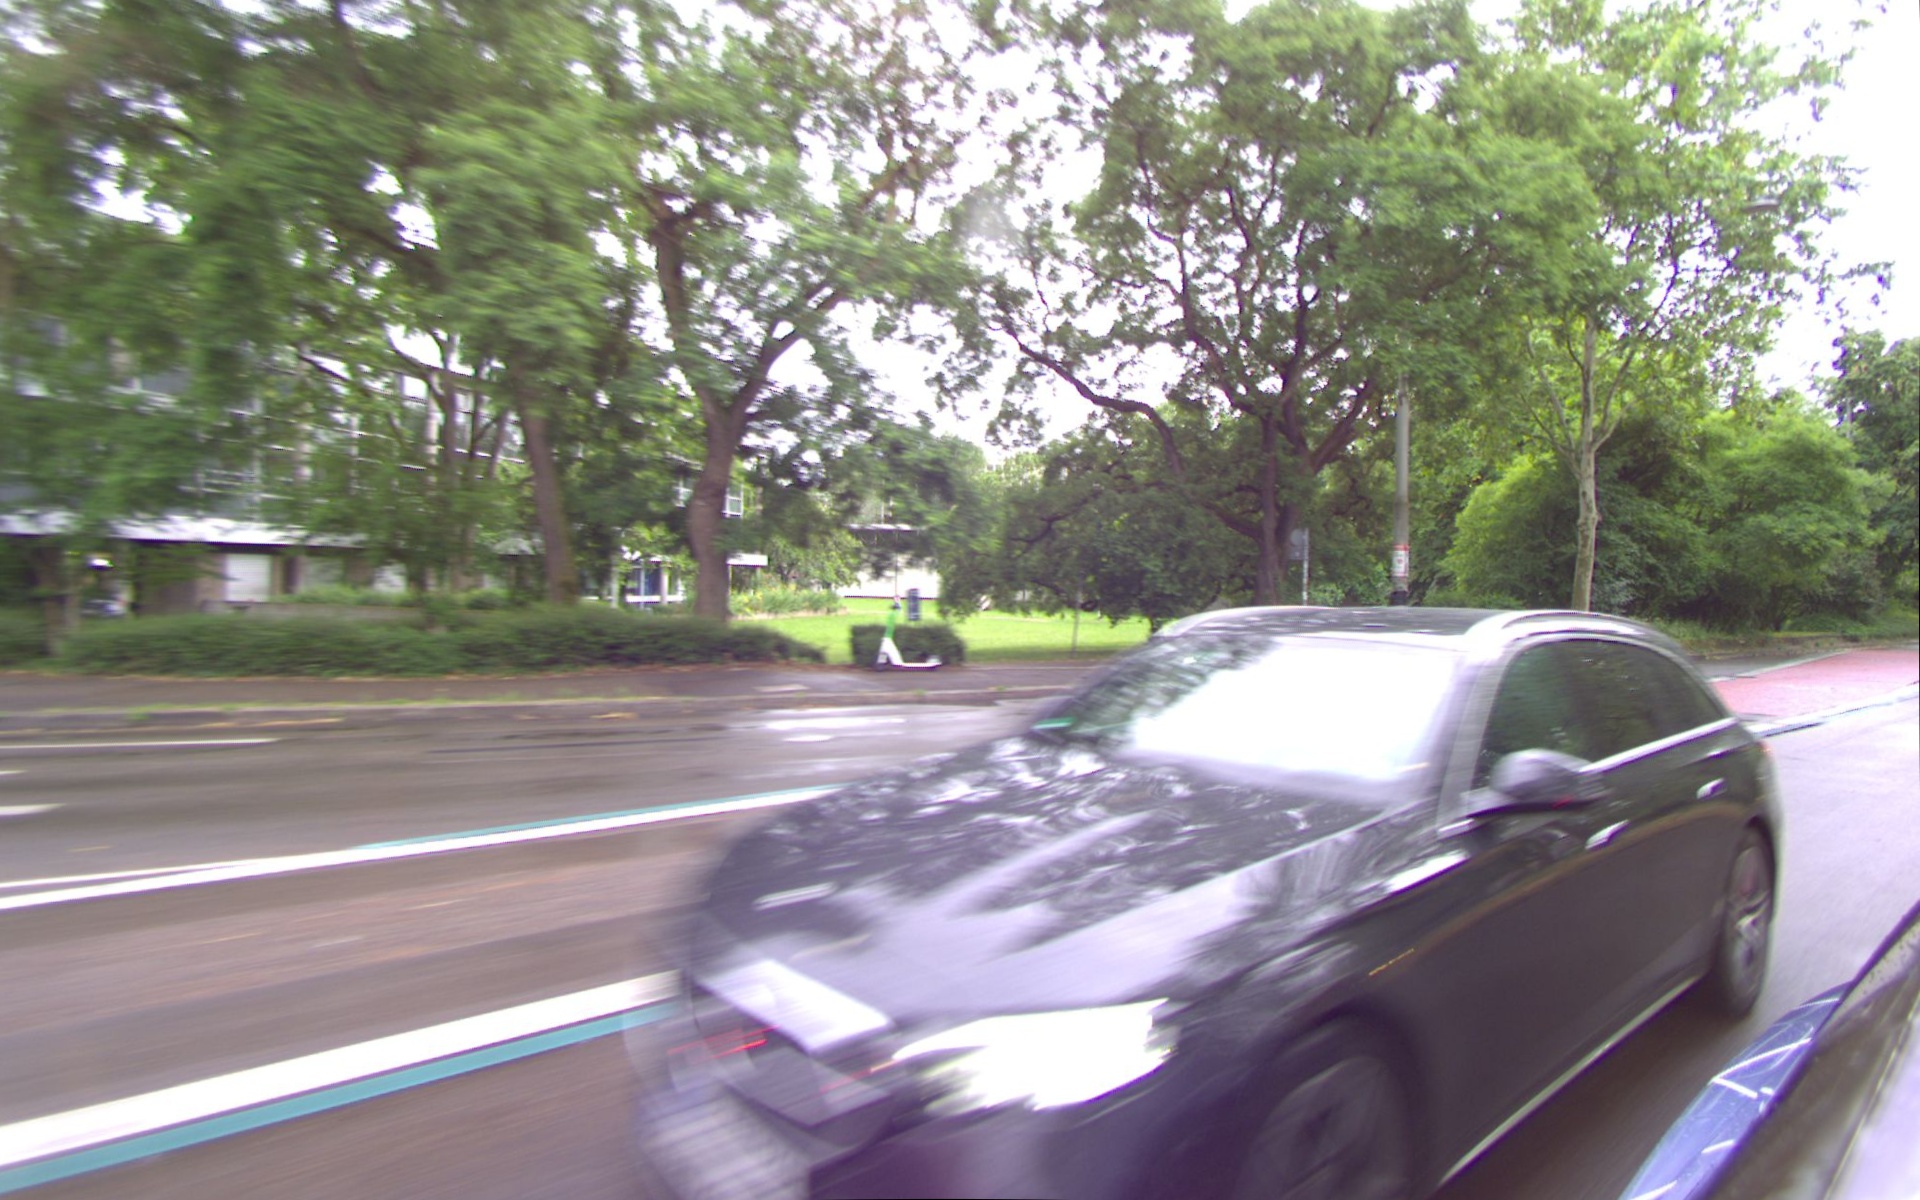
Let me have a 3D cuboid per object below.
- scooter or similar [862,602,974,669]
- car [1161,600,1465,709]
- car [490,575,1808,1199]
[{"bbox_3d":[-0.749,0.635,17.962,1.851,1.114,0.559,2,3,-19],"label":"scooter or similar"},{"bbox_3d":[5.428,0.760,15.525,4.312,1.468,1.871,1,0,-25],"label":"car"},{"bbox_3d":[1.223,0.714,3.492,4.844,1.464,1.882,0,0,-41],"label":"car"}]
